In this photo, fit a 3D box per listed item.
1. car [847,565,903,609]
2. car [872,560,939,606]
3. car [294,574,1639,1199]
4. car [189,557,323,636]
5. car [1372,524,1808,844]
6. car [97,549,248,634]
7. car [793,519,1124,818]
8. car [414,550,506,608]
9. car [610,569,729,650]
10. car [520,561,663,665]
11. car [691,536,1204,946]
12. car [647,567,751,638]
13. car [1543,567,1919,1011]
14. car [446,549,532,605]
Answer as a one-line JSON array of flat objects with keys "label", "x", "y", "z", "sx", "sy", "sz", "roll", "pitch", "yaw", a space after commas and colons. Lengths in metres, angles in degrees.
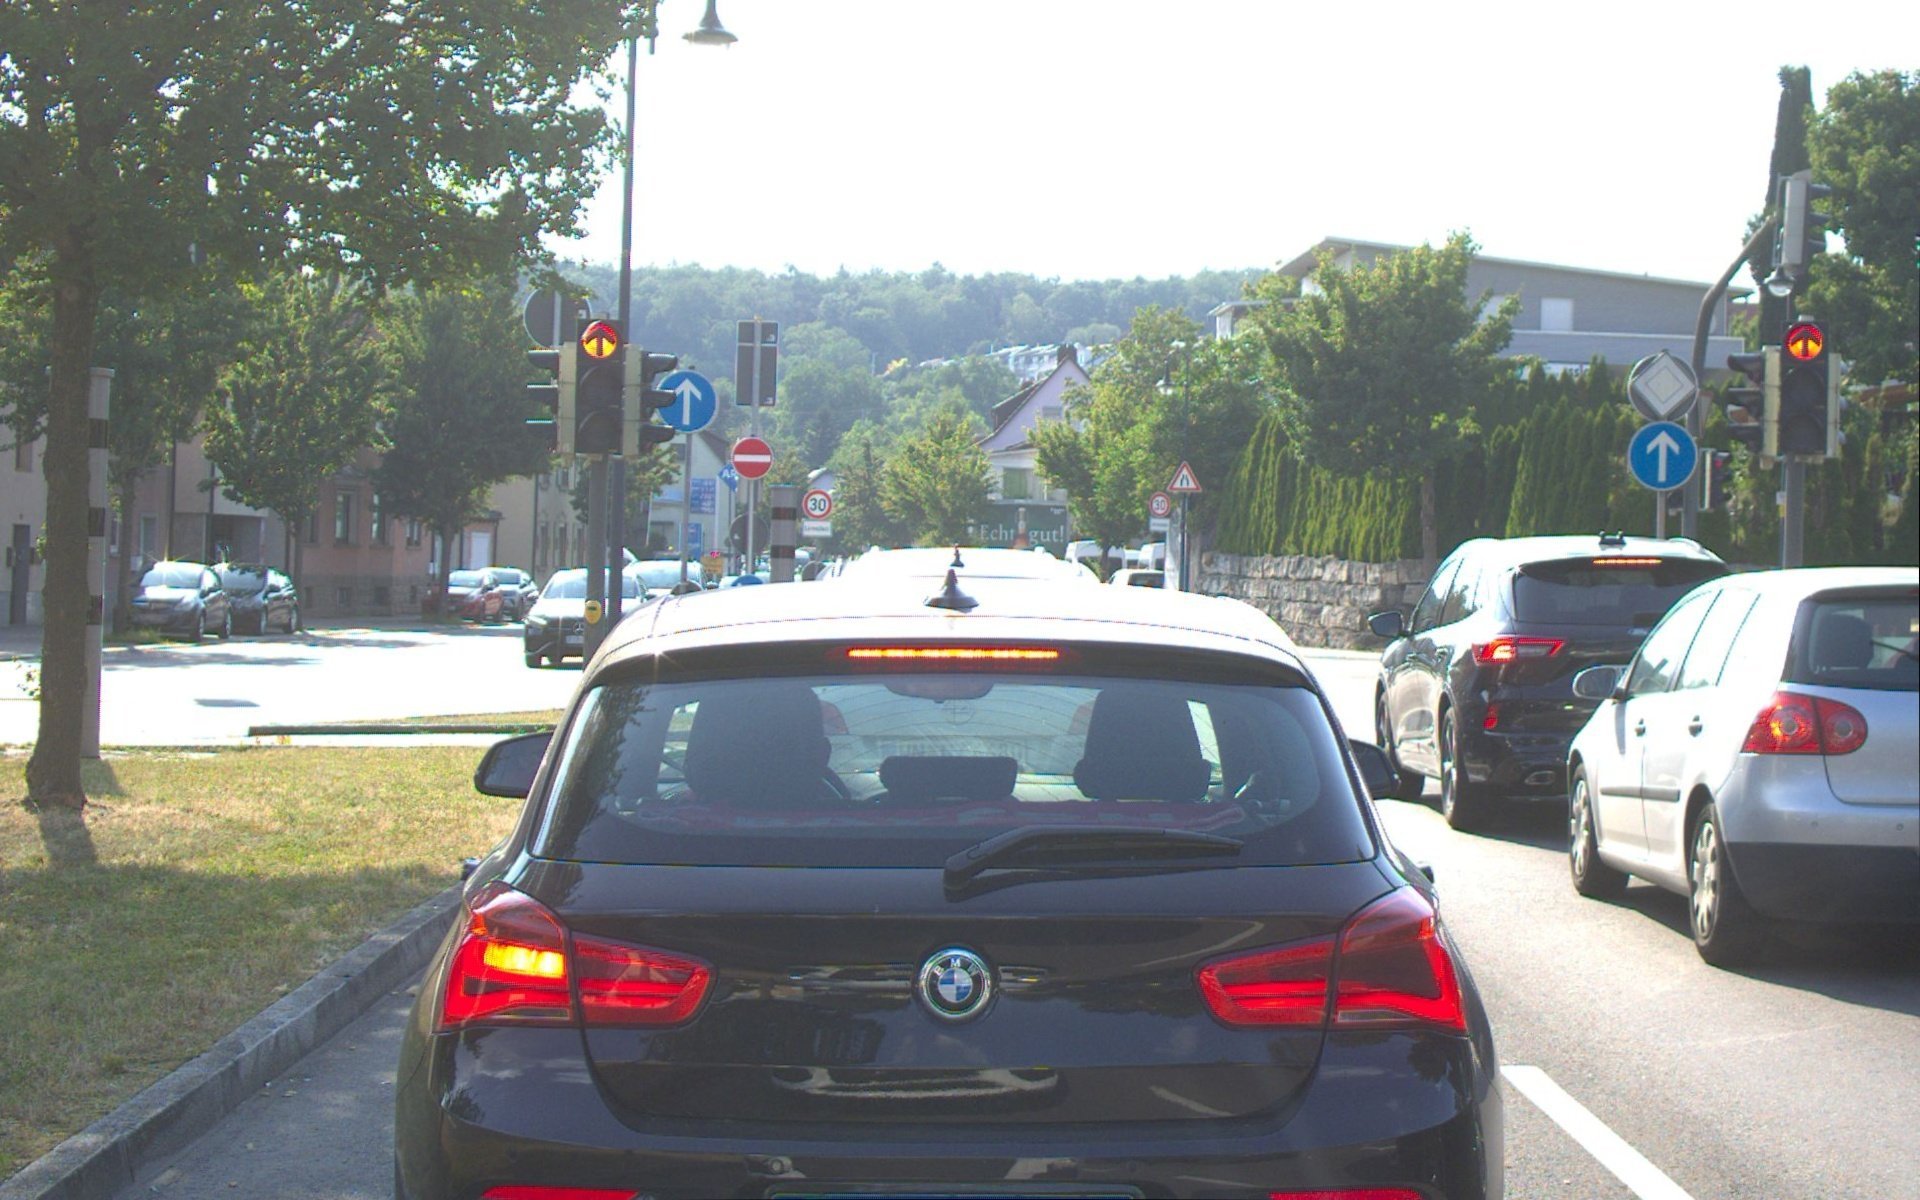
[{"label": "car", "x": -3.456, "y": -0.533, "z": 138.829, "sx": 1.890, "sy": 1.696, "sz": 4.525, "roll": -1, "pitch": 1, "yaw": -6}, {"label": "car", "x": -1.887, "y": -0.591, "z": 117.505, "sx": 1.861, "sy": 1.480, "sz": 4.660, "roll": 1, "pitch": 1, "yaw": -6}, {"label": "car", "x": 0.038, "y": 0.681, "z": 6.773, "sx": 1.791, "sy": 1.410, "sz": 4.347, "roll": 1, "pitch": 1, "yaw": 1}, {"label": "car", "x": -14.896, "y": -0.102, "z": 72.920, "sx": 1.924, "sy": 1.590, "sz": 4.000, "roll": 1, "pitch": 1, "yaw": 1}, {"label": "car", "x": 3.569, "y": 0.408, "z": 20.236, "sx": 1.816, "sy": 1.660, "sz": 4.347, "roll": 1, "pitch": 1, "yaw": 1}, {"label": "car", "x": -15.341, "y": -0.190, "z": 67.167, "sx": 1.924, "sy": 1.590, "sz": 4.000, "roll": 1, "pitch": 1, "yaw": 1}, {"label": "car", "x": 0.027, "y": 0.347, "z": 21.177, "sx": 1.816, "sy": 1.635, "sz": 4.242, "roll": 1, "pitch": 1, "yaw": 1}, {"label": "car", "x": -14.126, "y": -0.617, "z": 97.299, "sx": 1.924, "sy": 1.590, "sz": 4.000, "roll": 1, "pitch": 1, "yaw": 1}, {"label": "car", "x": -5.179, "y": 0.146, "z": 61.696, "sx": 1.693, "sy": 1.348, "sz": 4.000, "roll": 1, "pitch": 1, "yaw": 1}, {"label": "car", "x": -5.478, "y": 0.163, "z": 51.474, "sx": 1.766, "sy": 1.453, "sz": 4.000, "roll": 1, "pitch": 1, "yaw": -1}, {"label": "car", "x": -0.010, "y": 0.469, "z": 14.401, "sx": 1.816, "sy": 1.446, "sz": 4.242, "roll": 1, "pitch": 1, "yaw": 1}, {"label": "car", "x": -5.222, "y": 0.025, "z": 69.224, "sx": 1.693, "sy": 1.348, "sz": 4.000, "roll": 1, "pitch": 1, "yaw": 1}, {"label": "car", "x": 3.553, "y": 0.612, "z": 13.569, "sx": 1.816, "sy": 1.441, "sz": 4.347, "roll": 1, "pitch": 1, "yaw": 1}, {"label": "car", "x": -14.060, "y": -0.705, "z": 102.804, "sx": 1.924, "sy": 1.590, "sz": 4.000, "roll": 1, "pitch": 1, "yaw": 1}]
